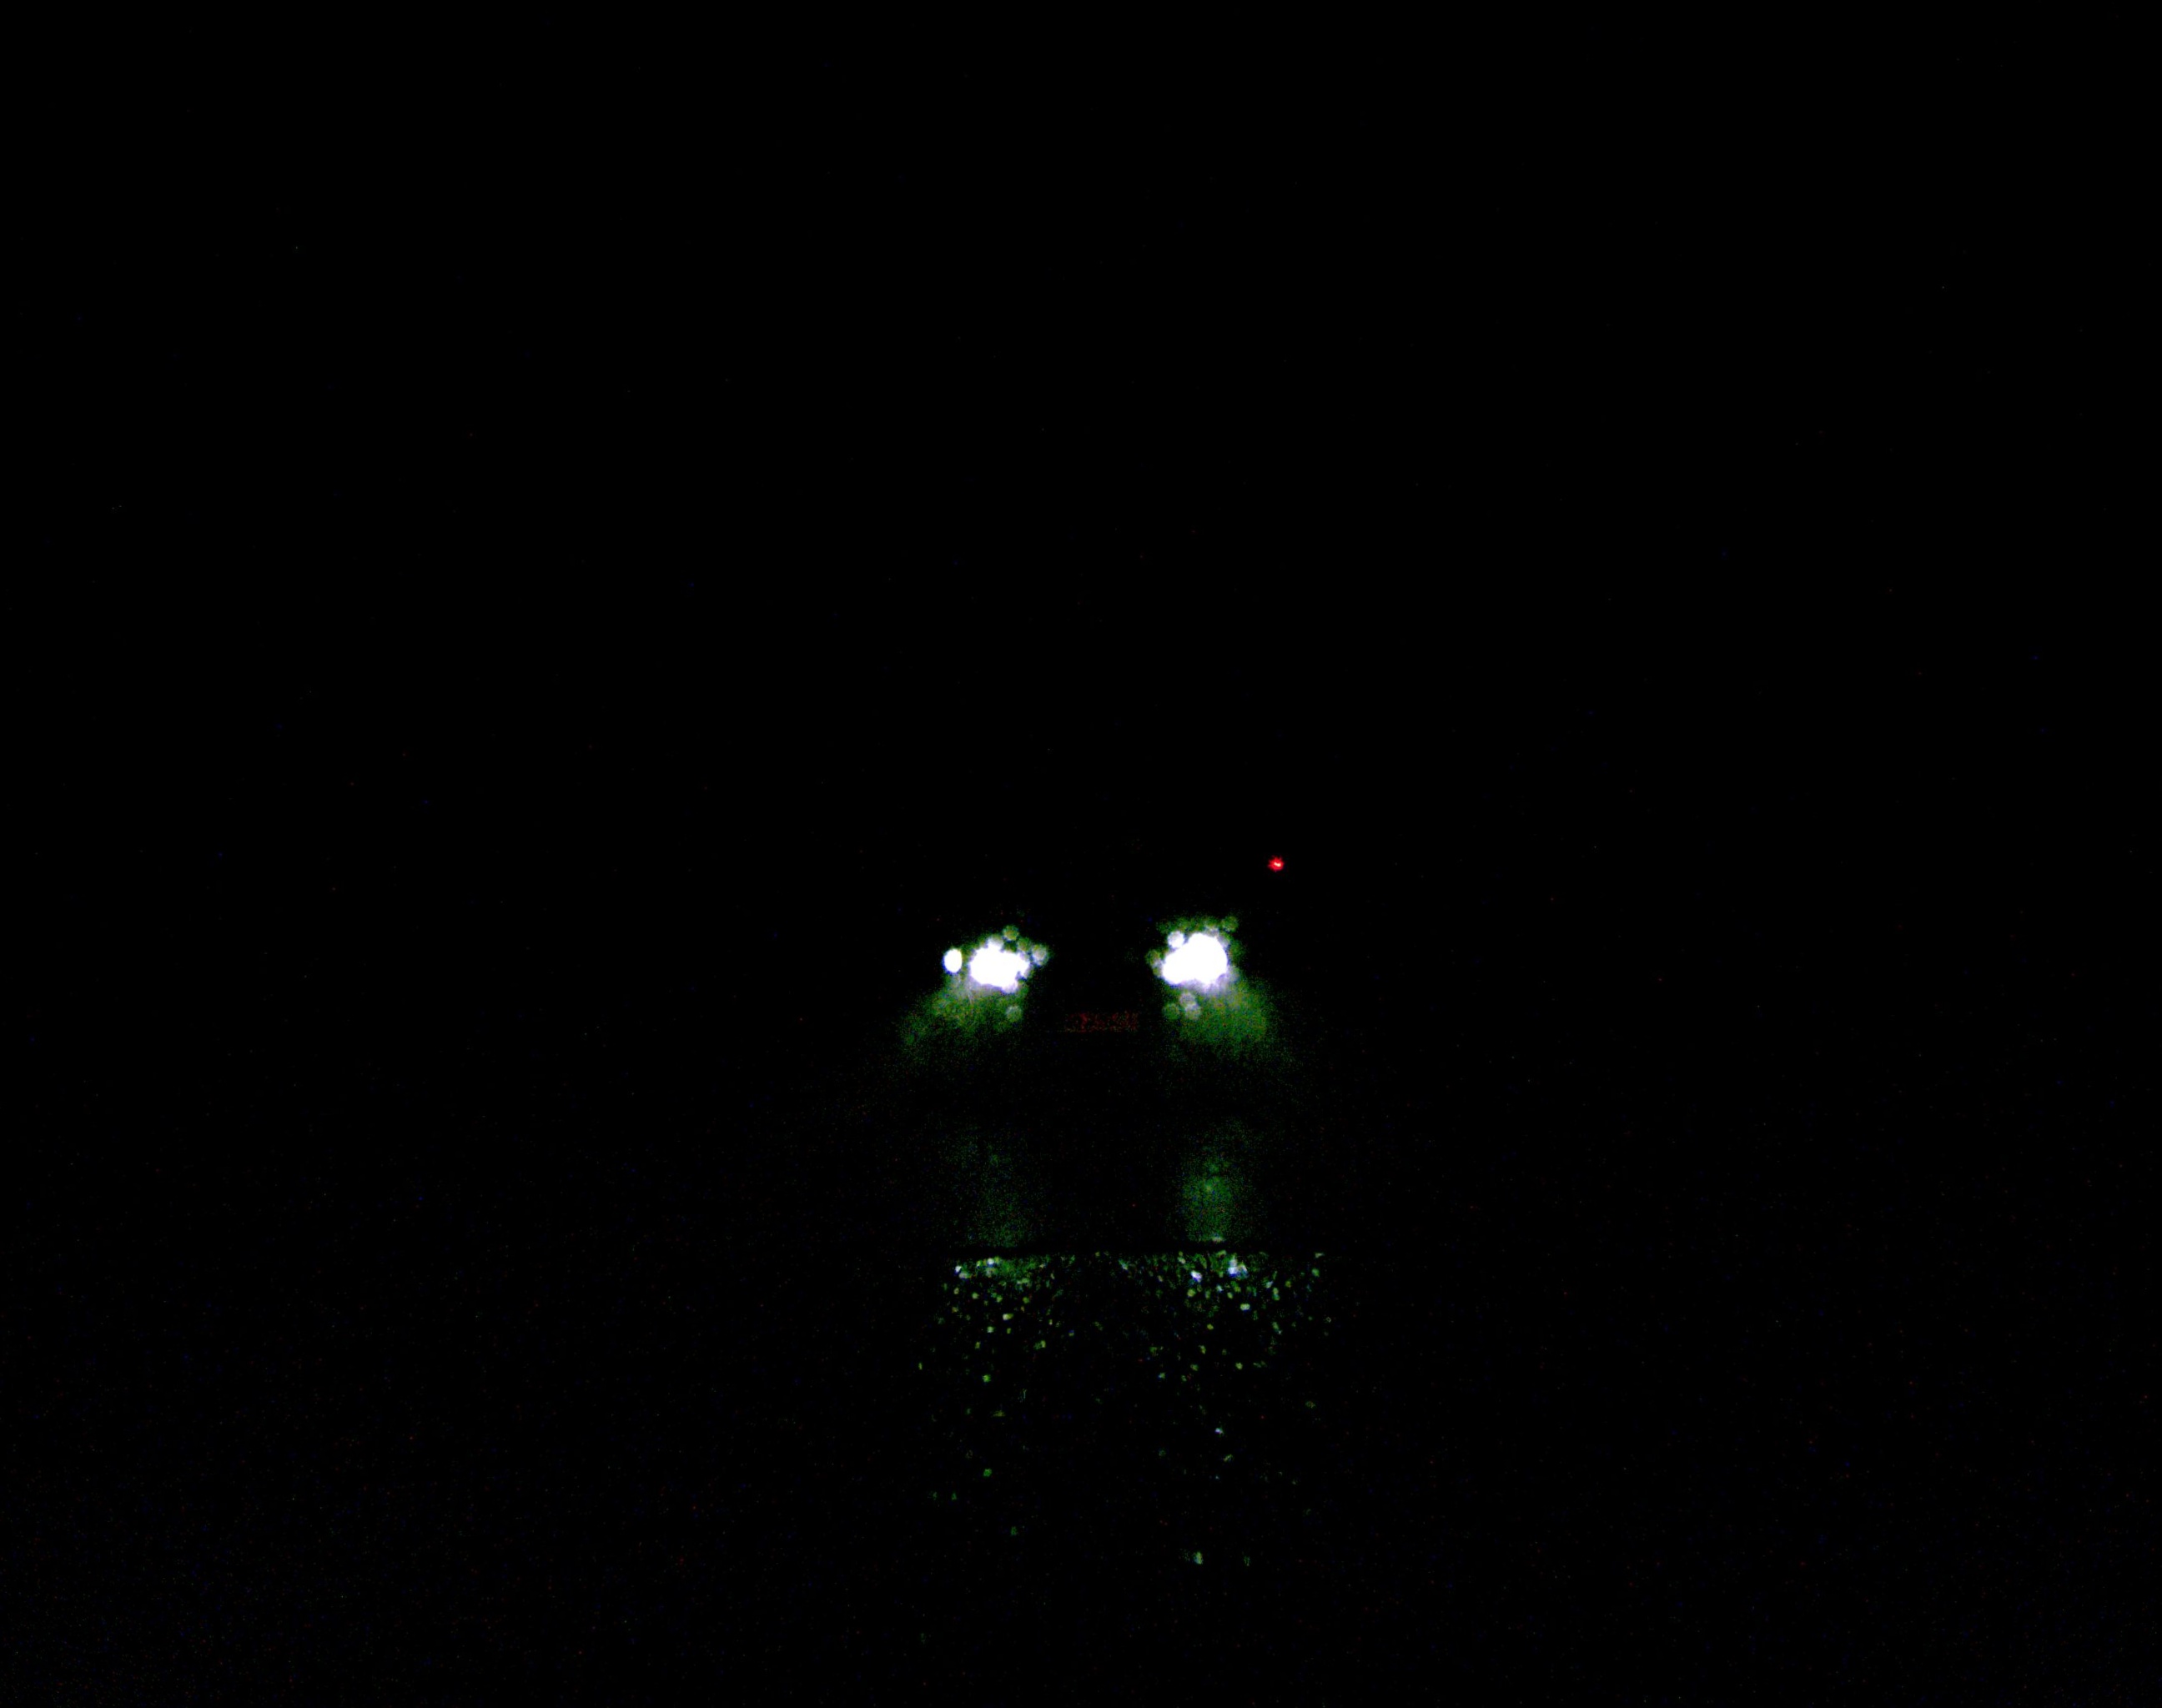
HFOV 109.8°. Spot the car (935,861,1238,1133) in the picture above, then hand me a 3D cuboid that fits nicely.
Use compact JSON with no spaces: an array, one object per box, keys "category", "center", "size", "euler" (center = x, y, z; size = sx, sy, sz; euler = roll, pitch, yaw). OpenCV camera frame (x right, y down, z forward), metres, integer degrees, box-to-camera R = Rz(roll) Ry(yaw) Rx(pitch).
[{"category":"car","center":[0.128,0.927,6.758],"size":[1.845,1.565,4.000],"euler":[-2,1,3]}]
